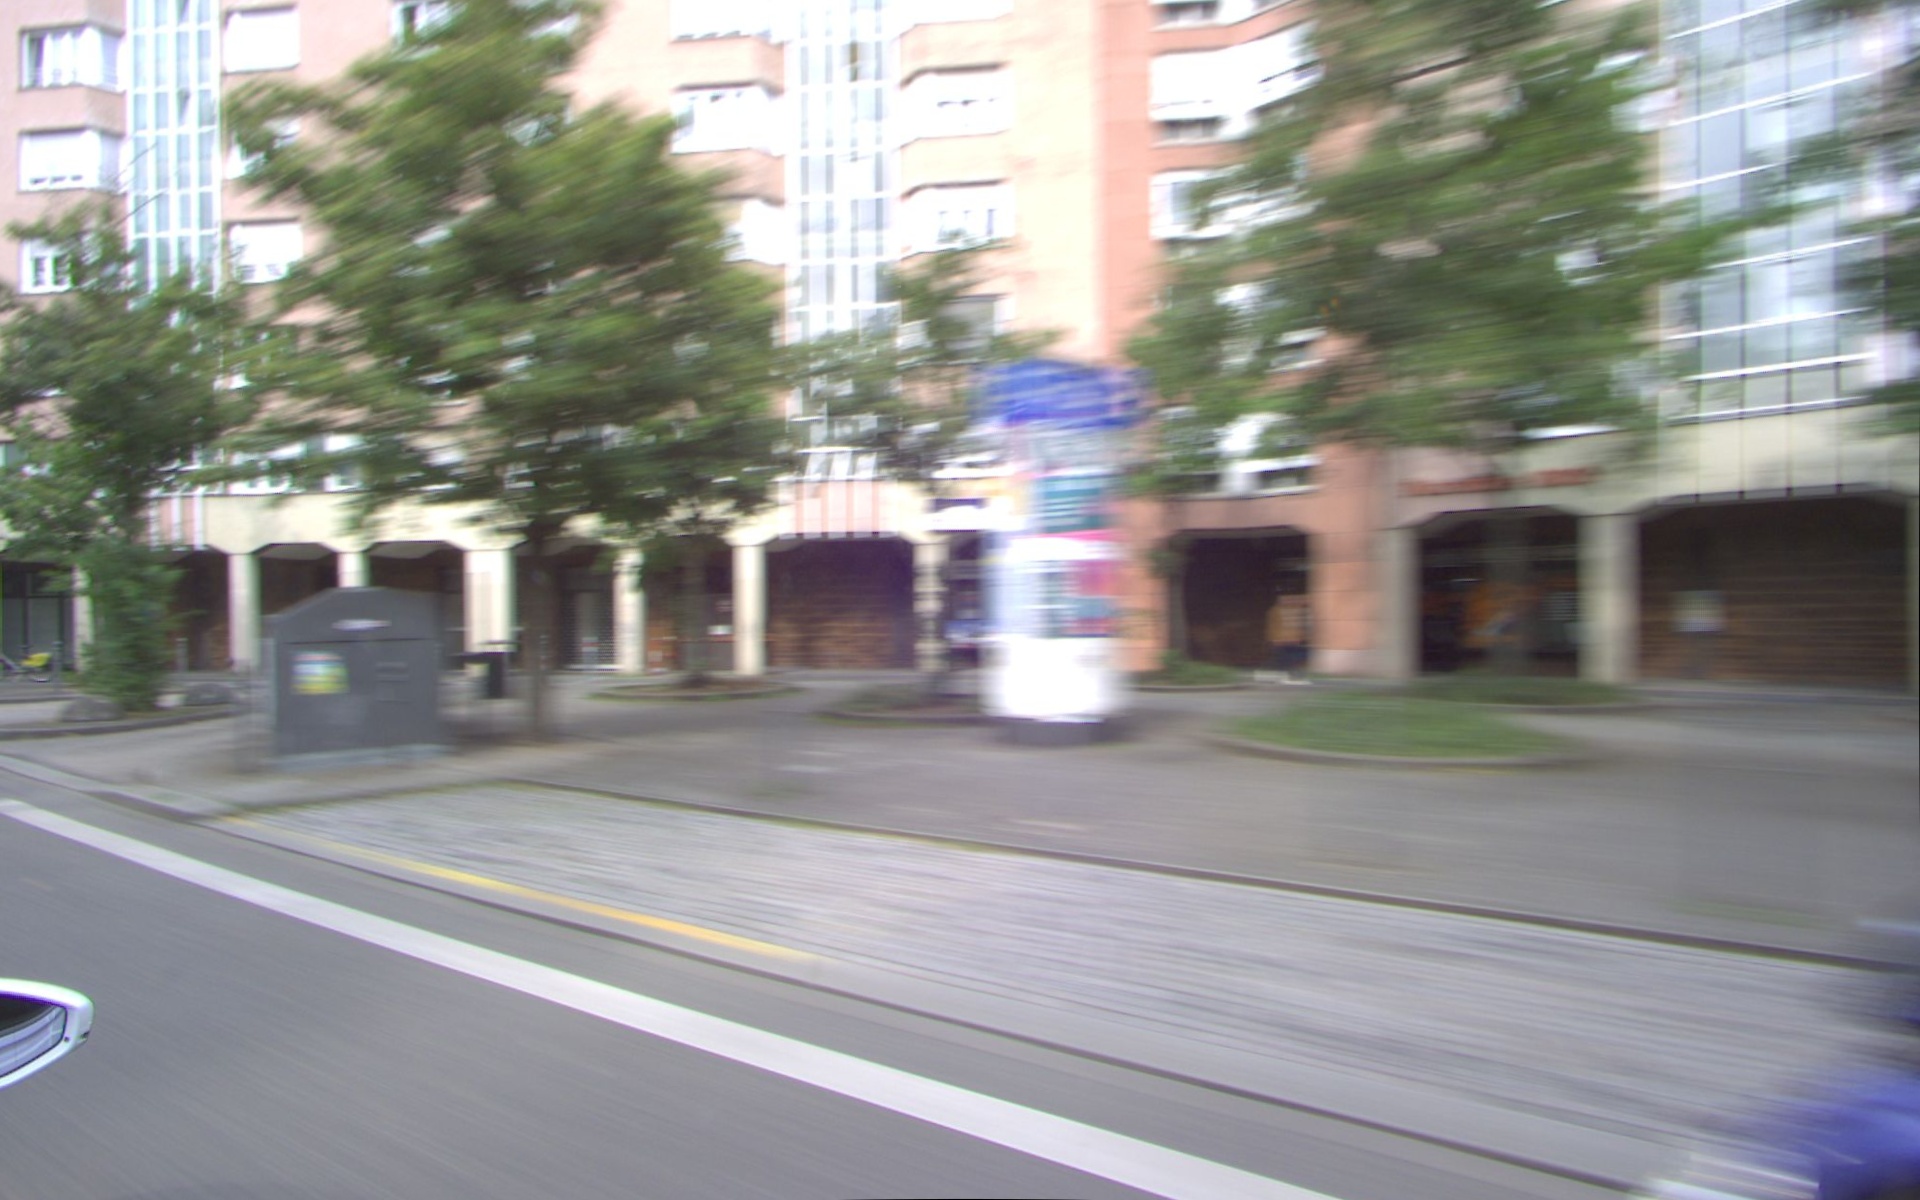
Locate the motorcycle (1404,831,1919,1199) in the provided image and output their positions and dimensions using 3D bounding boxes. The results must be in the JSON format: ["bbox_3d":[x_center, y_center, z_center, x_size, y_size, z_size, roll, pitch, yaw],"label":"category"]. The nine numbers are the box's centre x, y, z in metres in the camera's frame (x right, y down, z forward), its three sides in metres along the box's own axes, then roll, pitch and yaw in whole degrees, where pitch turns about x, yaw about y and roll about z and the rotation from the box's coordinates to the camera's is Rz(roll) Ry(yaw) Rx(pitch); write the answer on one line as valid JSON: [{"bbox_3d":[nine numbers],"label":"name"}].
[{"bbox_3d":[1.687,0.974,1.069,2.173,1.121,0.767,-1,-1,27],"label":"motorcycle"}]

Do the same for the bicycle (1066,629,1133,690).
[{"bbox_3d":[2.725,1.142,19.743,0.586,1.127,1.961,0,-1,-16],"label":"bicycle"}]

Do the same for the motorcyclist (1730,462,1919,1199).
[{"bbox_3d":[1.587,0.624,1.123,1.001,1.539,0.759,-1,0,27],"label":"motorcyclist"}]

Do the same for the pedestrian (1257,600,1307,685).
[{"bbox_3d":[6.530,0.845,20.321,0.841,1.684,0.530,0,0,41],"label":"pedestrian"}]

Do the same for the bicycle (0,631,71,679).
[{"bbox_3d":[-23.021,1.349,24.581,1.636,1.143,0.669,-1,0,-20],"label":"bicycle"}]
